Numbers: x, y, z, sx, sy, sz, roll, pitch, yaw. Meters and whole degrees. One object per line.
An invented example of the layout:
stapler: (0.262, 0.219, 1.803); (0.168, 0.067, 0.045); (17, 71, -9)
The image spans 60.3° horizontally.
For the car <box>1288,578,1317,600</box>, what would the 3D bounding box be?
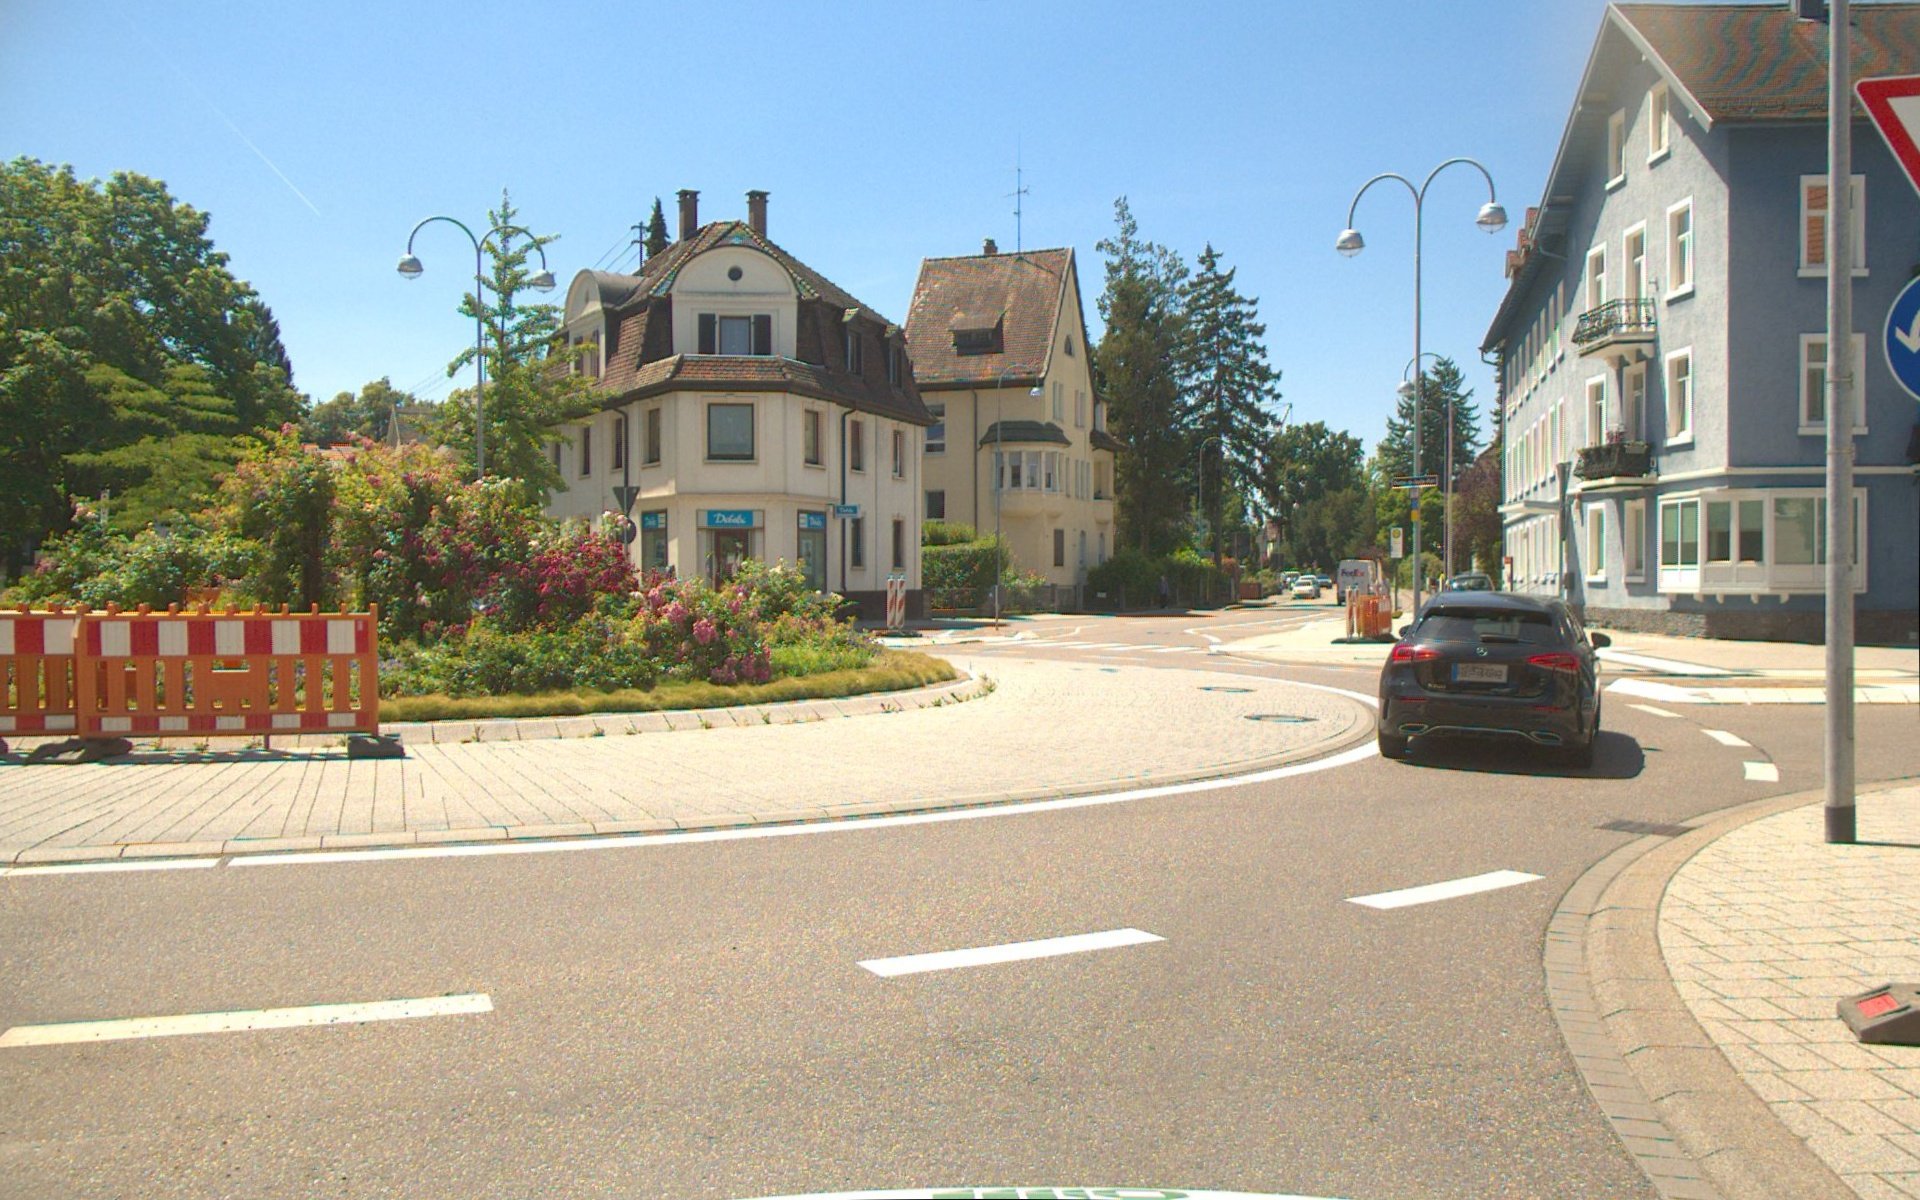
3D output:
car: (26.414, -0.872, 127.456); (1.951, 1.680, 4.003); (1, 1, 14)

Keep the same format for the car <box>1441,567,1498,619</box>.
car: (16.466, -0.257, 53.570); (1.605, 1.533, 3.566); (-3, 1, 15)

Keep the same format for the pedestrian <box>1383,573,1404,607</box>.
pedestrian: (16.871, -0.395, 64.410); (0.653, 1.308, 0.587); (-3, 0, 23)

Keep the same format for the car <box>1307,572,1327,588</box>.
car: (38.985, -2.209, 180.672); (1.951, 1.747, 4.003); (1, 1, 15)

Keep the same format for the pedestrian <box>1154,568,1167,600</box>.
pedestrian: (9.786, -0.782, 80.863); (0.512, 1.535, 0.473); (0, 0, 22)

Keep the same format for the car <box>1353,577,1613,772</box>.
car: (4.947, 0.559, 15.270); (1.914, 1.452, 3.999); (2, 2, 23)

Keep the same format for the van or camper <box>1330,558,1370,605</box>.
van or camper: (22.430, -1.072, 95.039); (2.159, 2.656, 4.003); (1, 1, 14)
